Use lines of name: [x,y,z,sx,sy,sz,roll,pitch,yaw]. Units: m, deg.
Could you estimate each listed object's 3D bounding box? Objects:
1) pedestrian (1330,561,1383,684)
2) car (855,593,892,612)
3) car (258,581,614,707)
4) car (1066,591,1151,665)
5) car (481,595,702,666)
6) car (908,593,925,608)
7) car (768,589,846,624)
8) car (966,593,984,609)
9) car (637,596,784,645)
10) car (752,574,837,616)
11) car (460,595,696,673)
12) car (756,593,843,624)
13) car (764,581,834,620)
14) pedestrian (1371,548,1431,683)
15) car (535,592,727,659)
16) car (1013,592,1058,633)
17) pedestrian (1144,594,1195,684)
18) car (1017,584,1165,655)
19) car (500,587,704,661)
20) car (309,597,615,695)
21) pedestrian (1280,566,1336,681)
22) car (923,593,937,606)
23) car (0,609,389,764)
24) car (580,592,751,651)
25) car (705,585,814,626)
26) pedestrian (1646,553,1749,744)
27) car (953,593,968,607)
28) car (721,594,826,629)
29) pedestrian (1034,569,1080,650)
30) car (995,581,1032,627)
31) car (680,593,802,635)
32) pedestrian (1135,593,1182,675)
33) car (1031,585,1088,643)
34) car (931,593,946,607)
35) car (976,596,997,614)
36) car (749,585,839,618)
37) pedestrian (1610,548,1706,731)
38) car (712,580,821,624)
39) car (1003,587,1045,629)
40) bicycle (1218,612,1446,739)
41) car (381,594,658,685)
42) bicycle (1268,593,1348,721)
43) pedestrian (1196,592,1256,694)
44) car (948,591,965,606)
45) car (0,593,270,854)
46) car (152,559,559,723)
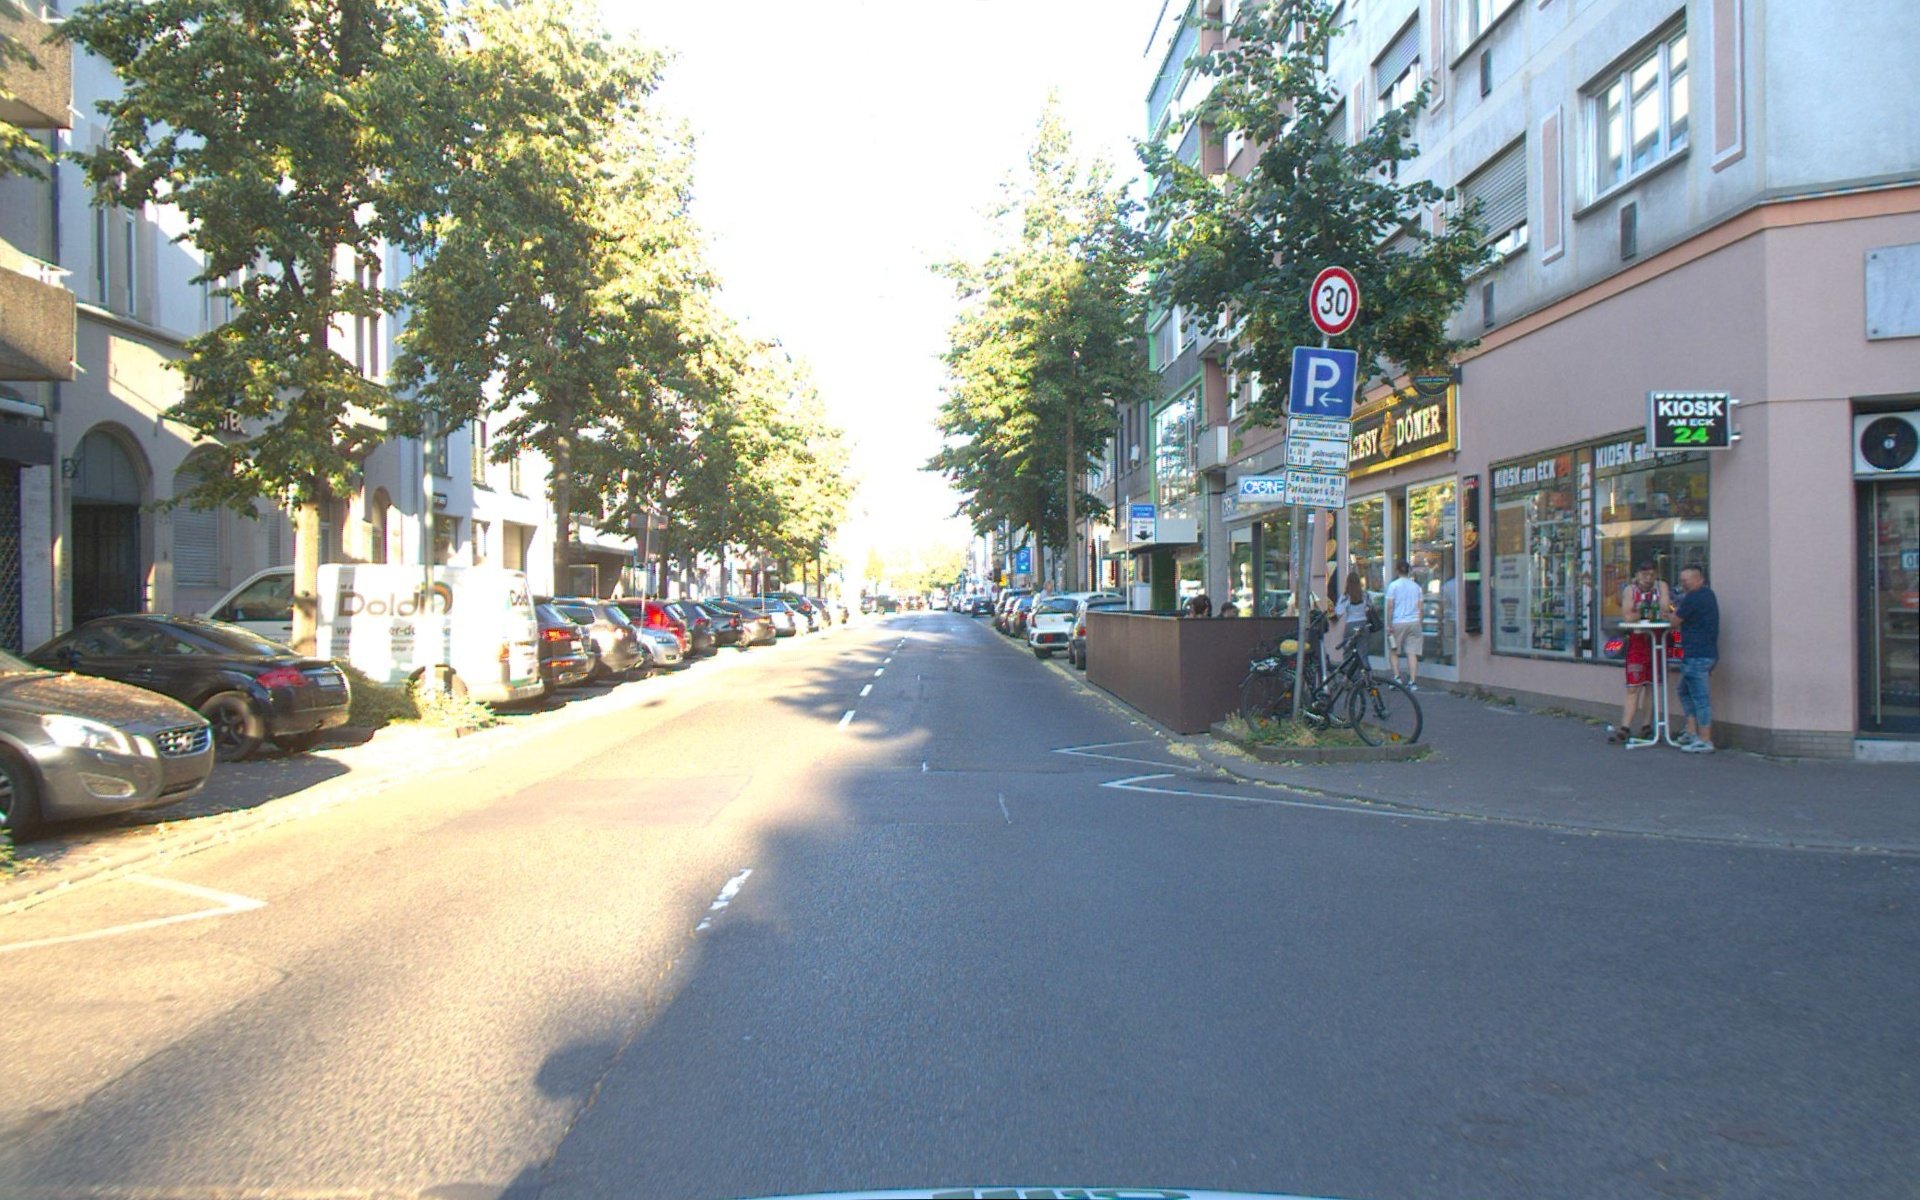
pedestrian: [5.622,0.310,23.470,0.617,1.709,0.892,-1,0,7]
car: [-7.296,0.218,139.428,1.888,1.599,3.303,0,0,22]
car: [-7.474,0.599,23.931,4.478,1.727,2.060,0,0,0]
car: [3.079,0.555,34.833,1.511,1.458,3.678,0,0,1]
car: [-7.925,0.637,35.843,4.351,1.484,1.859,0,0,-1]
car: [-4.717,0.044,179.674,1.716,1.567,3.304,-1,0,0]
car: [-8.916,0.351,96.623,4.351,1.994,1.919,0,0,-1]
car: [1.219,0.066,137.640,1.482,1.285,3.304,0,0,0]
car: [-7.809,0.632,52.067,4.351,1.474,1.919,0,0,-1]
car: [-8.870,-0.261,88.776,4.351,2.238,1.919,0,0,-1]
car: [-7.677,0.666,33.541,4.351,1.510,1.809,0,0,-1]
car: [-8.372,0.440,86.468,4.351,1.606,1.919,0,0,-1]
car: [-10.366,0.005,106.844,4.351,2.477,1.919,0,0,-1]
pedestrian: [6.128,0.214,23.018,0.683,1.836,0.892,-1,0,7]
car: [-8.061,0.606,40.827,4.351,1.595,1.919,0,0,-1]
car: [2.710,0.441,60.018,1.482,1.430,3.837,0,0,0]
pedestrian: [3.370,0.620,26.673,0.711,1.402,0.781,-1,0,-1]
car: [3.199,0.429,40.018,1.645,1.616,3.801,0,1,41]
car: [-8.286,0.546,38.593,4.351,1.667,1.859,0,0,-1]
car: [-7.898,0.707,26.521,4.351,1.493,1.779,0,0,-1]
pedestrian: [5.107,0.336,24.276,0.779,1.654,0.913,-1,0,11]
car: [-3.603,-0.025,199.701,1.538,1.532,3.304,-1,0,0]
car: [-7.829,0.797,16.210,3.712,1.416,2.044,0,-1,2]
car: [-8.067,0.576,45.541,4.351,1.595,1.919,0,0,-1]
car: [-8.131,0.227,67.335,4.216,1.626,1.919,0,0,0]
pedestrian: [6.432,0.405,14.447,0.555,1.611,0.663,-2,2,-1]
car: [0.075,0.030,160.390,1.482,1.321,3.304,0,0,0]
car: [-8.148,0.491,72.557,4.351,1.525,1.919,0,0,-1]
pedestrian: [2.364,0.234,40.435,0.900,1.959,1.015,0,0,-11]
car: [2.312,0.159,71.834,1.482,1.897,4.235,0,0,0]
car: [-8.307,0.522,63.017,4.351,1.549,1.919,0,0,-1]
pedestrian: [3.471,0.582,28.982,0.711,1.402,0.781,-1,0,-1]
car: [2.874,0.382,48.128,1.482,1.605,3.218,0,0,0]
car: [-2.395,0.031,184.643,1.685,1.501,3.304,-1,0,0]
car: [1.903,0.338,119.385,1.482,1.298,3.304,0,0,0]
car: [-8.384,0.068,83.645,4.351,1.606,1.919,0,0,-1]
pedestrian: [6.408,0.344,15.211,0.555,1.627,0.663,-2,2,-1]
car: [-8.085,0.070,69.437,4.351,1.789,1.919,0,0,-1]
car: [2.492,0.294,65.013,1.482,1.589,3.514,0,0,0]
bicycle: [3.411,0.664,15.224,1.918,1.092,0.704,0,1,31]
car: [-7.637,0.672,28.972,4.351,1.532,1.844,0,0,-1]
bicycle: [3.530,0.541,16.687,0.585,1.198,1.847,-1,1,18]
pedestrian: [3.753,0.591,23.369,0.711,1.402,0.781,-1,0,-1]
car: [-0.379,-0.157,172.105,1.716,1.567,3.304,-1,0,0]
car: [-7.119,0.743,10.799,4.455,1.568,1.810,0,0,-2]
car: [-7.621,0.495,21.218,4.479,1.996,1.990,0,0,-1]
